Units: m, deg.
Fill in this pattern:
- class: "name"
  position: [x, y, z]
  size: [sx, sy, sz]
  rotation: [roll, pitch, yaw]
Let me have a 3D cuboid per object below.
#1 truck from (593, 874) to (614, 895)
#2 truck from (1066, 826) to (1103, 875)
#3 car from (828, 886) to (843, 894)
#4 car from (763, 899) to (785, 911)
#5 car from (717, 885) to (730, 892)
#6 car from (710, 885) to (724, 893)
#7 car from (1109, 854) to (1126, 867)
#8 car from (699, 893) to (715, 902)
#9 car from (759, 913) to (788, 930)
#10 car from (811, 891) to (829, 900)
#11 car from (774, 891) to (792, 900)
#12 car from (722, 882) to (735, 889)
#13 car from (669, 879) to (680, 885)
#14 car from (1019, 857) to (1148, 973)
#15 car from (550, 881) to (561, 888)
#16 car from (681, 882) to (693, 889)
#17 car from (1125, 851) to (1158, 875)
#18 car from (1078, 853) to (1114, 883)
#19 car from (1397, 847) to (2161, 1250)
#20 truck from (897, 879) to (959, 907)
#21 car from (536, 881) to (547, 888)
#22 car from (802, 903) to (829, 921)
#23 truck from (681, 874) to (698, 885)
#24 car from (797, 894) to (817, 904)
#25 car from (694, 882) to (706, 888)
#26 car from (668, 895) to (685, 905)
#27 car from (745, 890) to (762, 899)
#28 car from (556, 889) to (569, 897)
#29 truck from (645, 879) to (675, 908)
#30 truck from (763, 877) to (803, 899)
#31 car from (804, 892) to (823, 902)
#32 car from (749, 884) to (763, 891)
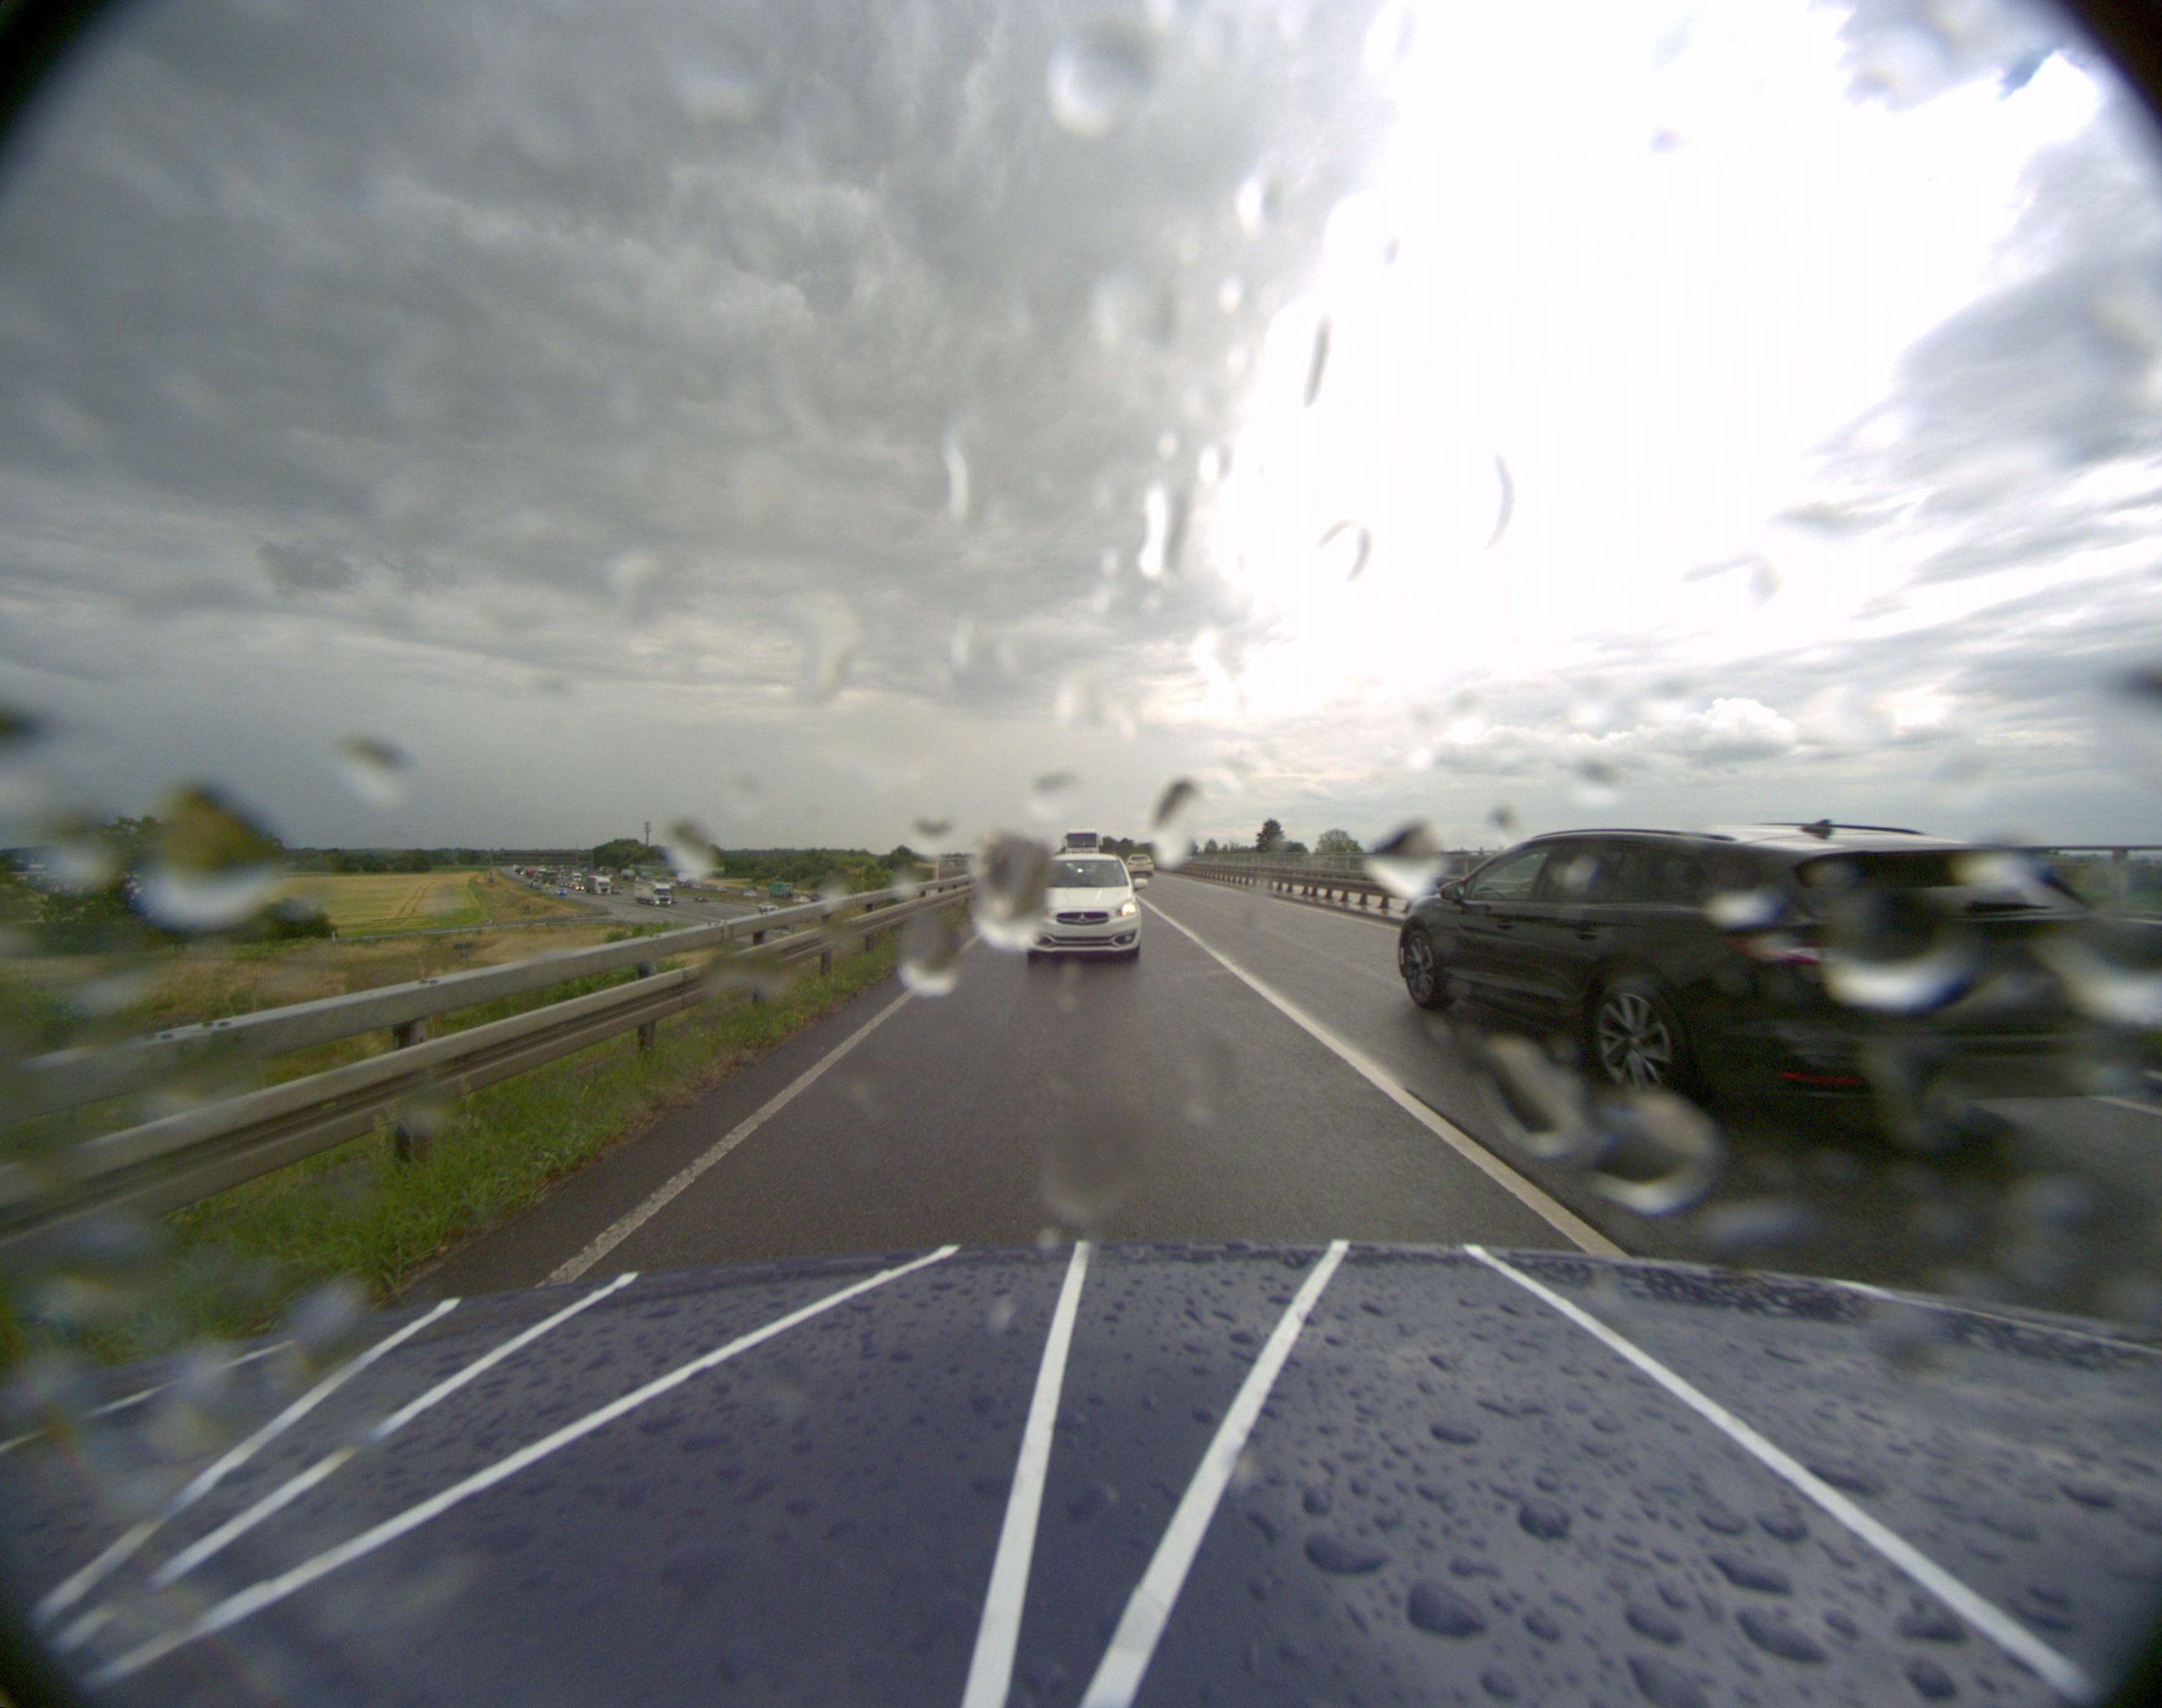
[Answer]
- class: "truck"
  position: [-111.024, 6.967, 176.465]
  size: [2.799, 4.590, 12.723]
  rotation: [-2, 0, -37]
- class: "truck"
  position: [0.138, -0.411, 60.020]
  size: [2.631, 3.537, 8.474]
  rotation: [-1, 2, -1]
- class: "car"
  position: [-60.515, 8.846, 187.120]
  size: [1.860, 1.659, 4.711]
  rotation: [-2, 0, -41]
- class: "car"
  position: [-51.034, 8.403, 126.107]
  size: [2.003, 1.614, 3.990]
  rotation: [-8, 3, -41]
- class: "car"
  position: [-90.351, 8.737, 192.104]
  size: [1.860, 1.659, 4.711]
  rotation: [-2, 0, -41]
- class: "car"
  position: [-87.849, 8.460, 183.184]
  size: [1.860, 1.659, 4.711]
  rotation: [-2, 0, -41]
- class: "car"
  position: [4.143, 0.728, 87.270]
  size: [1.701, 1.424, 4.323]
  rotation: [-2, 0, 0]
- class: "car"
  position: [-76.625, 8.893, 155.598]
  size: [1.860, 1.659, 4.711]
  rotation: [-2, 0, -41]
- class: "car"
  position: [-38.014, 8.305, 93.940]
  size: [1.860, 1.659, 4.711]
  rotation: [-2, 0, -41]
- class: "car"
  position: [-57.006, 9.003, 166.051]
  size: [1.860, 1.659, 4.711]
  rotation: [-2, 0, -43]
- class: "car"
  position: [-62.961, 8.769, 160.498]
  size: [1.860, 1.659, 4.711]
  rotation: [-2, 0, -43]
- class: "car"
  position: [-95.694, 8.470, 206.220]
  size: [1.860, 1.659, 4.711]
  rotation: [-2, 0, -41]
- class: "car"
  position: [-122.385, 8.371, 228.701]
  size: [1.860, 1.659, 4.711]
  rotation: [-2, 0, -41]
- class: "car"
  position: [0.019, 0.815, 12.152]
  size: [1.675, 1.476, 4.129]
  rotation: [-2, 0, 0]
- class: "car"
  position: [-137.923, 7.891, 199.317]
  size: [1.860, 1.659, 4.711]
  rotation: [-1, 0, -41]
- class: "car"
  position: [-105.226, 8.388, 202.887]
  size: [1.860, 1.659, 4.711]
  rotation: [-2, 0, -41]
- class: "car"
  position: [3.994, 0.587, 50.807]
  size: [1.815, 1.501, 4.611]
  rotation: [-2, 0, 0]
- class: "car"
  position: [0.688, 0.648, 38.128]
  size: [1.675, 1.366, 4.129]
  rotation: [-2, 0, 0]
- class: "car"
  position: [3.910, 0.763, 5.138]
  size: [1.784, 1.552, 4.302]
  rotation: [-2, 0, 1]
- class: "truck"
  position: [-27.112, 6.756, 133.897]
  size: [3.611, 4.511, 14.064]
  rotation: [-2, 0, -43]
- class: "car"
  position: [-141.446, 7.991, 199.115]
  size: [1.860, 1.659, 4.711]
  rotation: [-2, 0, -41]
- class: "car"
  position: [-35.907, 7.859, 102.843]
  size: [2.002, 2.002, 3.992]
  rotation: [-8, 0, -39]
- class: "truck"
  position: [-116.002, 7.546, 224.998]
  size: [2.216, 2.948, 9.283]
  rotation: [-2, 0, -41]
- class: "car"
  position: [-51.175, 8.458, 141.961]
  size: [1.860, 1.659, 4.711]
  rotation: [-2, 0, -43]
- class: "car"
  position: [-105.087, 8.532, 209.500]
  size: [1.860, 1.659, 4.711]
  rotation: [-2, 0, -41]
- class: "car"
  position: [-77.556, 8.798, 145.729]
  size: [1.860, 1.659, 4.711]
  rotation: [-2, 0, -41]
- class: "car"
  position: [-70.465, 8.766, 163.527]
  size: [1.860, 1.659, 4.711]
  rotation: [-2, 0, -43]
- class: "car"
  position: [-116.306, 8.730, 170.486]
  size: [1.818, 1.427, 4.711]
  rotation: [-2, 0, -42]
- class: "truck"
  position: [-76.425, 7.087, 137.867]
  size: [2.799, 4.871, 12.723]
  rotation: [-2, 0, -37]
- class: "truck"
  position: [-68.337, 7.650, 173.742]
  size: [3.611, 4.511, 15.587]
  rotation: [-2, 0, -40]
- class: "car"
  position: [-54.086, 8.713, 153.773]
  size: [1.860, 1.659, 4.711]
  rotation: [-2, 0, -43]
- class: "car"
  position: [-84.069, 8.579, 196.583]
  size: [1.860, 1.659, 4.711]
  rotation: [-2, 0, -41]
